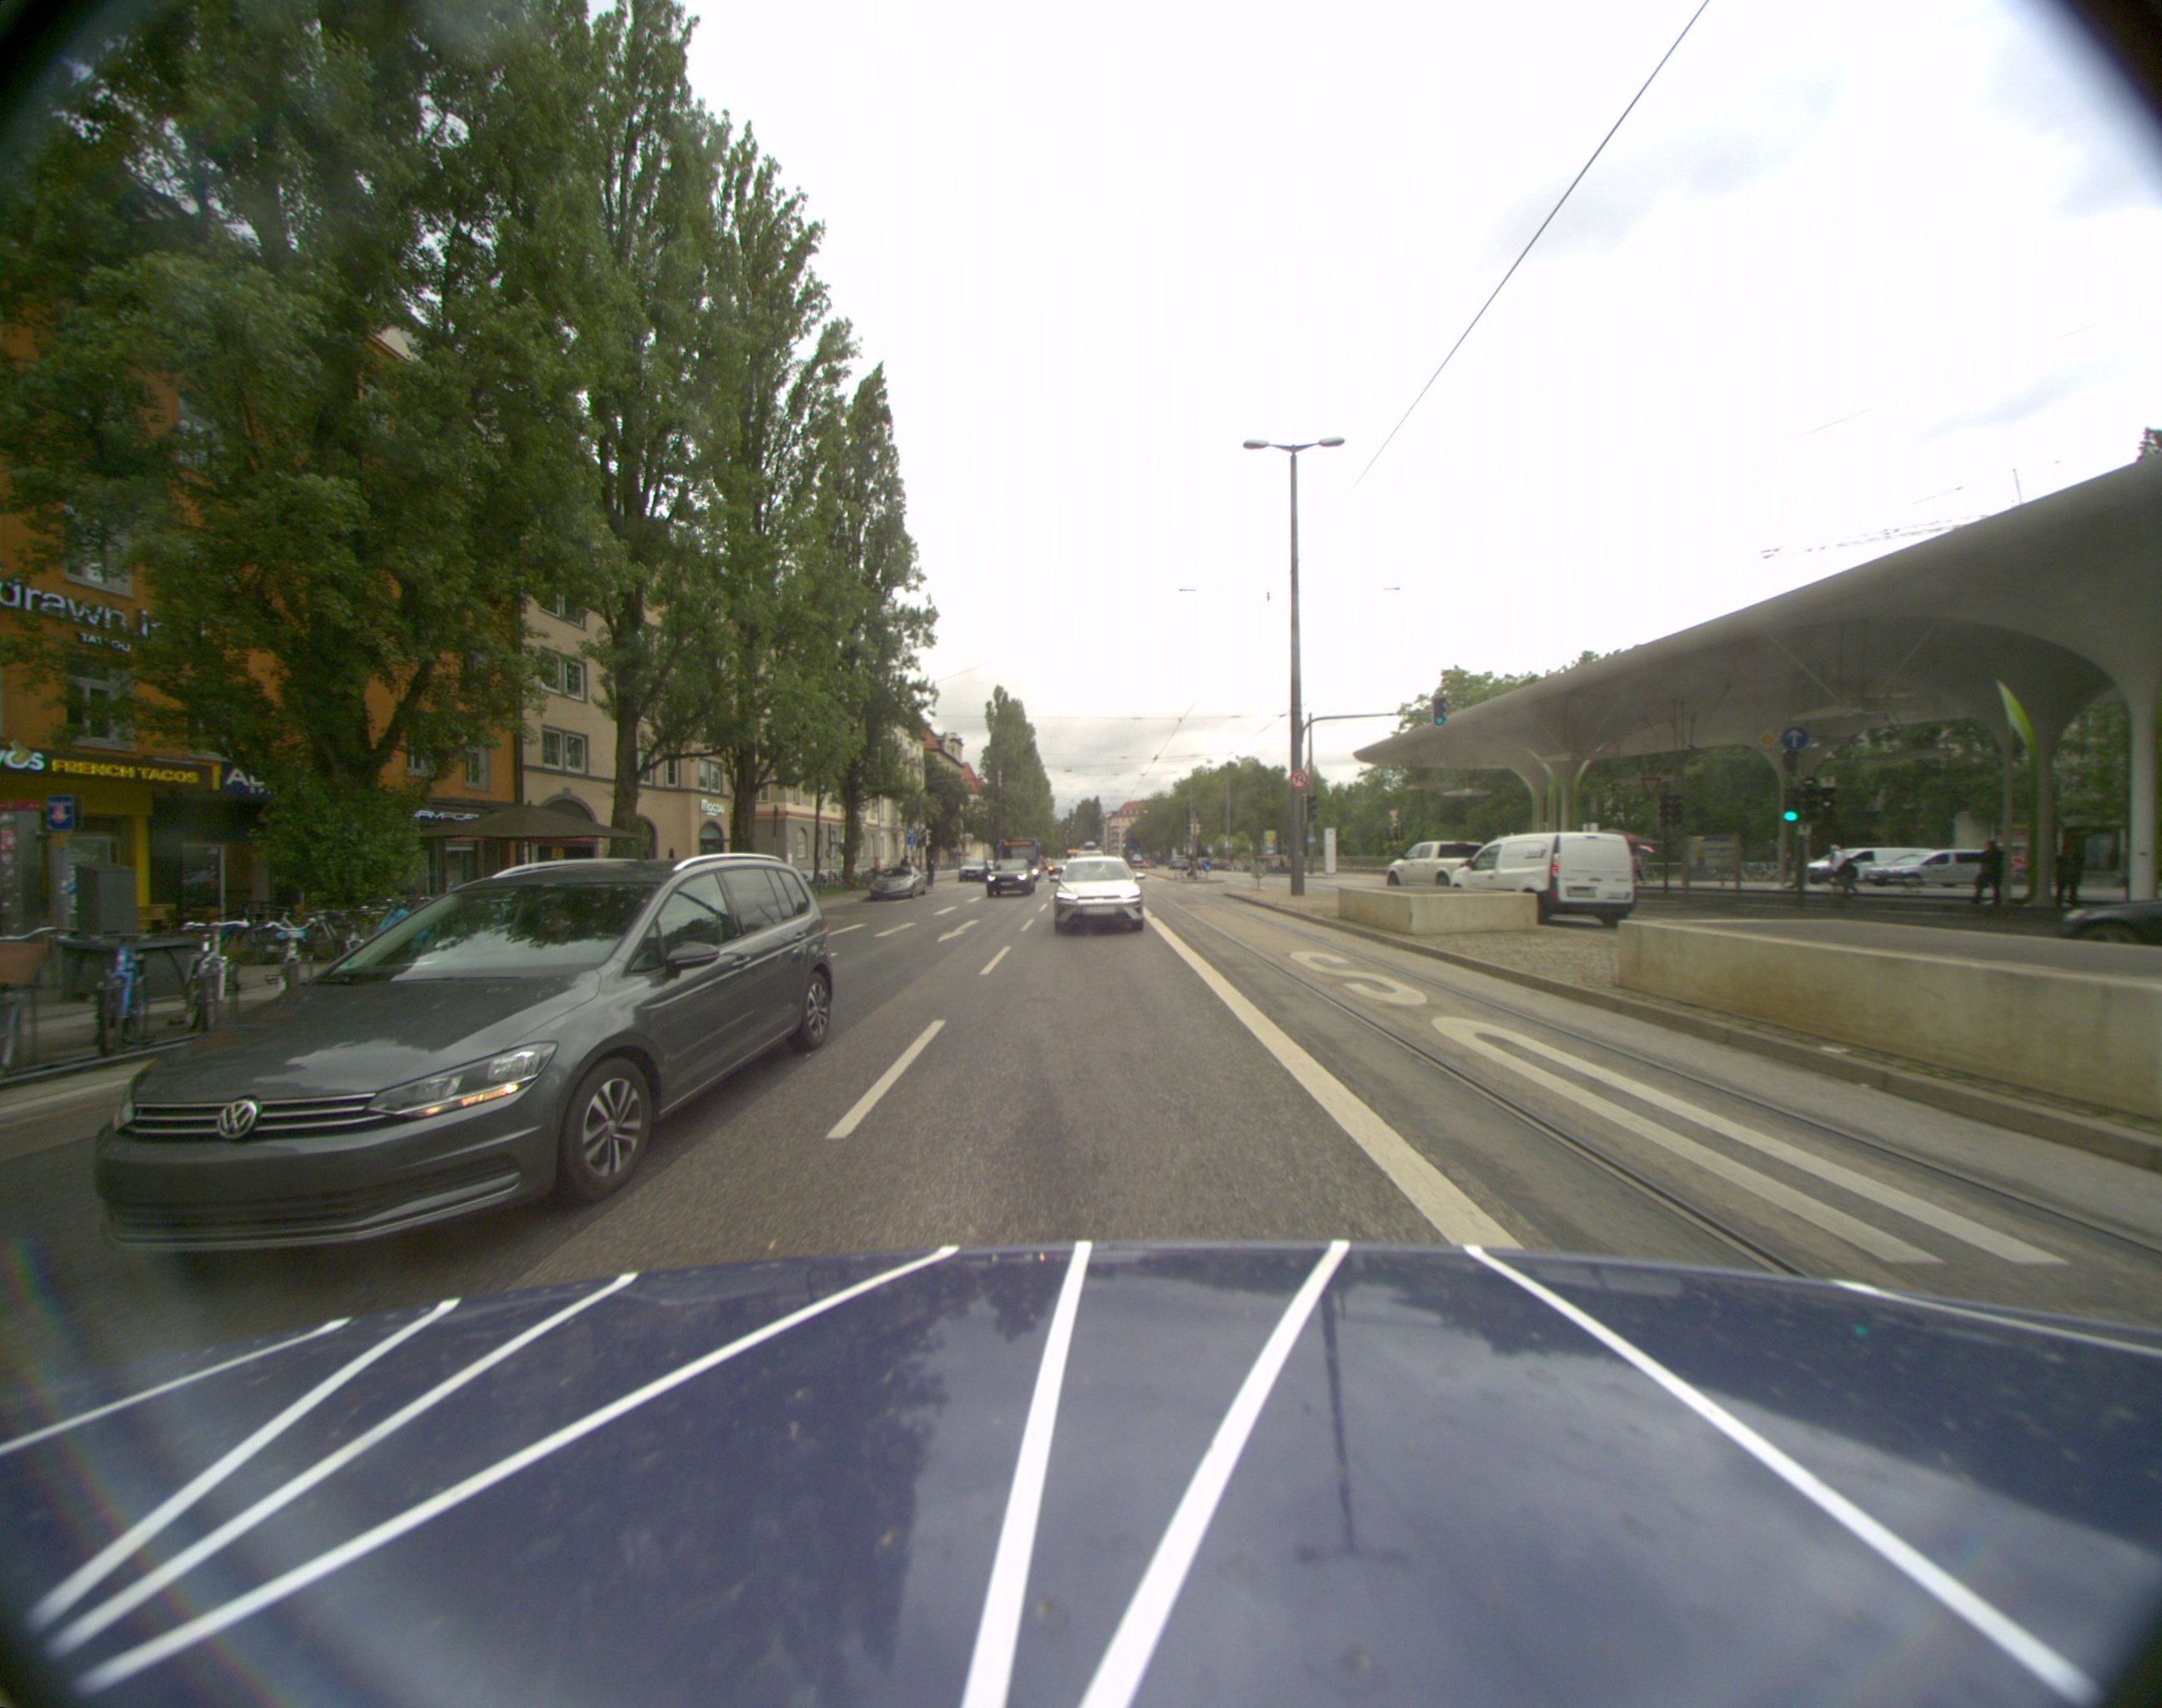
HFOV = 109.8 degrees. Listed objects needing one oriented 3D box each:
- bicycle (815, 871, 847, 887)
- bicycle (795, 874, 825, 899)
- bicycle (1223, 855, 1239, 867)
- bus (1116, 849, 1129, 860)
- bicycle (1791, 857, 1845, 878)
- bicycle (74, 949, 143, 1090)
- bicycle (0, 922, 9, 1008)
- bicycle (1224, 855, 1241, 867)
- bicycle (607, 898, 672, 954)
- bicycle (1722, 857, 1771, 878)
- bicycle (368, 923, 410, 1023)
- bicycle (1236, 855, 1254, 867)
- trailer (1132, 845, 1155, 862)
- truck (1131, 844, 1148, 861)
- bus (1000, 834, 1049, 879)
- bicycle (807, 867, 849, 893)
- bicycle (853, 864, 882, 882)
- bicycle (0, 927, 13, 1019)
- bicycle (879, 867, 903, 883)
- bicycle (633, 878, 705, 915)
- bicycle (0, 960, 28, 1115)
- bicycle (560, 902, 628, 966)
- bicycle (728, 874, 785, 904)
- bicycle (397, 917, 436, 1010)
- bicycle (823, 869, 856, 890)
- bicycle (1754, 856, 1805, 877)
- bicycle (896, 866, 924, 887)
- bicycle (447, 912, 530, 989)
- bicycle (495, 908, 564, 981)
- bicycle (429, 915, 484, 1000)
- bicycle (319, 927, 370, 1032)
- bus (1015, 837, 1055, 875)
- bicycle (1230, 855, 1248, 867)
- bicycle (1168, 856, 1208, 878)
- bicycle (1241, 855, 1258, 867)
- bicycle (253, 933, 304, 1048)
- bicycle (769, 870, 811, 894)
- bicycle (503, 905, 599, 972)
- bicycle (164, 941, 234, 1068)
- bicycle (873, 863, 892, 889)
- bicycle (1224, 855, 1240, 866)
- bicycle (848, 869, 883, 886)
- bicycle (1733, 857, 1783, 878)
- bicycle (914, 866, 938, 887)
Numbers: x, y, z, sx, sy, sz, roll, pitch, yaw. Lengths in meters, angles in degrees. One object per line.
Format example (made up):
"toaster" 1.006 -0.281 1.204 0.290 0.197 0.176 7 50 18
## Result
"bicycle" -13.820 1.391 42.034 1.576 0.830 0.392 -2 1 -2
"bicycle" -11.177 1.326 31.345 0.590 0.959 1.653 -1 0 1
"bicycle" 16.152 0.753 81.820 1.693 1.165 0.505 -1 1 -7
"bus" 10.995 0.088 204.203 2.632 2.949 13.414 1 0 -1
"bicycle" 41.902 0.757 43.261 0.644 1.123 2.524 -1 0 1
"bicycle" -8.451 1.374 6.599 1.837 0.990 0.326 -2 -1 38
"bicycle" -14.089 1.387 9.343 1.725 1.039 0.388 -2 -1 12
"bicycle" 16.177 0.754 81.235 1.693 1.165 0.561 -1 1 -9
"bicycle" -8.282 1.320 14.219 1.837 0.990 0.376 -2 -1 38
"bicycle" 38.125 0.766 43.600 0.644 1.123 2.524 -1 0 1
"bicycle" -8.201 1.356 9.004 0.326 0.990 1.837 -1 -1 -42
"bicycle" 16.885 0.725 78.308 1.693 1.165 0.561 -1 1 -9
"trailer" 10.634 -0.033 131.089 2.616 2.666 15.639 1 0 0
"truck" 10.670 -0.227 138.927 2.572 3.069 7.690 1 0 0
"bus" -4.019 0.166 56.387 2.637 2.956 9.466 -3 0 1
"bicycle" -12.089 1.244 36.326 1.801 1.103 0.447 -3 0 3
"bicycle" -14.612 1.313 51.983 1.890 1.147 0.464 -2 1 -41
"bicycle" -13.177 1.384 8.500 1.727 1.039 0.387 -1 -1 -5
"bicycle" -12.807 1.401 51.301 0.391 1.017 1.842 -1 1 28
"bicycle" -12.287 1.268 22.656 1.892 1.048 0.458 -1 1 3
"bicycle" -8.419 1.374 5.830 1.837 0.990 0.326 -2 -1 38
"bicycle" -8.252 1.321 12.835 1.837 0.990 0.376 -2 -1 38
"bicycle" -12.054 1.289 28.219 1.892 1.048 0.458 -1 1 -2
"bicycle" -8.351 1.329 9.538 0.326 0.990 1.837 -1 -1 -42
"bicycle" -12.789 1.324 40.210 1.575 1.044 0.392 -2 1 2
"bicycle" 39.893 0.712 43.457 0.644 1.123 2.524 -1 0 1
"bicycle" -8.991 1.163 40.010 1.740 1.096 0.360 0 1 36
"bicycle" -8.356 1.327 10.685 1.837 0.990 0.326 -2 -1 33
"bicycle" -8.258 1.322 11.347 1.837 0.990 0.326 -2 -1 38
"bicycle" -8.269 1.324 10.032 1.837 0.990 0.326 -3 -1 44
"bicycle" -8.318 1.363 8.564 1.837 0.990 0.326 -3 -1 44
"bus" -3.832 0.135 65.407 2.637 2.956 8.534 -3 0 1
"bicycle" 16.544 0.739 79.477 1.693 1.165 0.561 -1 1 -9
"bicycle" 6.122 0.737 43.385 2.233 1.144 0.505 -2 1 -18
"bicycle" 16.831 0.680 75.770 1.696 1.165 0.560 -1 0 -29
"bicycle" -8.348 1.366 7.912 1.837 0.990 0.326 -3 -1 44
"bicycle" -13.908 1.335 36.345 1.801 1.103 0.447 -2 1 3
"bicycle" -8.471 1.329 12.127 1.837 0.990 0.376 -2 -1 25
"bicycle" -8.378 1.369 7.201 1.837 0.990 0.326 -2 -1 38
"bicycle" -10.411 1.135 39.861 0.424 1.281 1.778 -1 0 2
"bicycle" 16.652 0.682 83.675 1.692 1.165 0.562 -1 1 -2
"bicycle" -11.970 1.300 42.212 1.837 0.911 0.392 -2 1 2
"bicycle" 38.803 0.745 43.609 0.644 1.123 2.524 -1 0 1
"bicycle" -8.323 1.210 40.732 0.360 1.096 1.740 -1 1 -43
